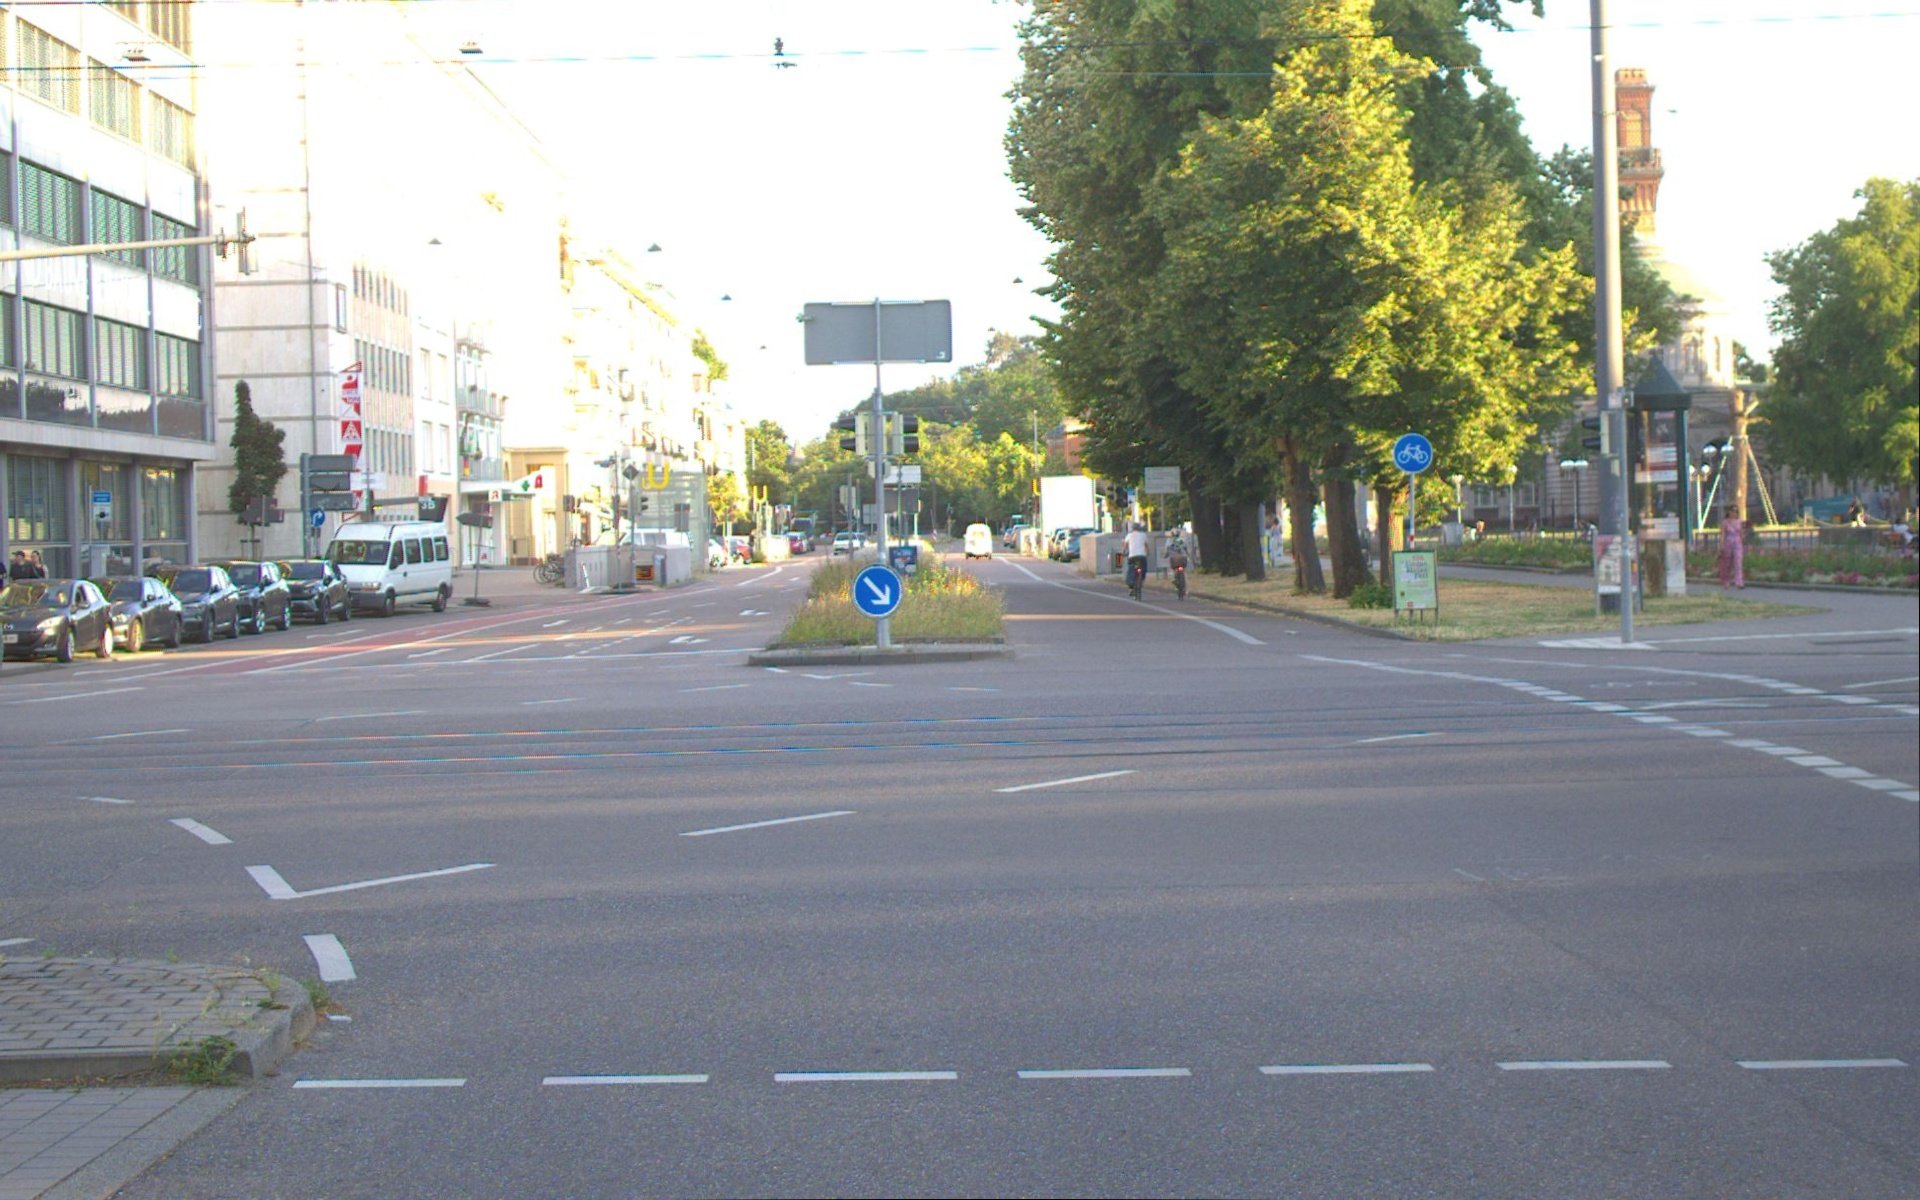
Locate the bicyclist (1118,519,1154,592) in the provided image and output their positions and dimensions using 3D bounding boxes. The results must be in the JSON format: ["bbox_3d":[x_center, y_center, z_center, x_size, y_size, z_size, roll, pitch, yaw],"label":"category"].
[{"bbox_3d":[4.089,-1.030,79.880,0.746,1.658,0.873,-2,1,-1],"label":"bicyclist"}]

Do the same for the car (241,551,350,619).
[{"bbox_3d":[-16.359,-0.378,84.774,1.920,1.563,4.000,-2,1,-1],"label":"car"}]

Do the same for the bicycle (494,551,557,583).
[{"bbox_3d":[-15.841,-1.213,125.457,2.205,1.108,0.619,-2,1,-2],"label":"bicycle"}]

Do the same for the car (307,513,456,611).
[{"bbox_3d":[-15.300,-1.048,91.224,2.002,2.469,5.865,-1,1,10],"label":"car"}]

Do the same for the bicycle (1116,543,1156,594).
[{"bbox_3d":[4.088,-0.751,80.108,0.746,1.140,2.505,-2,1,-1],"label":"bicycle"}]

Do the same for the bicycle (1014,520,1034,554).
[{"bbox_3d":[3.881,-3.845,208.628,1.002,2.007,4.000,-1,1,4],"label":"bicycle"}]

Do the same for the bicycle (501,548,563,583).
[{"bbox_3d":[-16.040,-1.288,128.875,2.205,1.232,0.839,-2,1,-2],"label":"bicycle"}]

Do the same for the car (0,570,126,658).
[{"bbox_3d":[-16.486,0.238,61.935,1.920,1.459,4.103,-2,1,-1],"label":"car"}]

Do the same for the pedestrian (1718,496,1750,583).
[{"bbox_3d":[14.819,-1.163,65.827,0.460,1.651,0.567,-1,1,-1],"label":"pedestrian"}]

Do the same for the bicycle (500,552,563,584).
[{"bbox_3d":[-15.824,-1.190,126.979,2.205,1.108,0.689,-2,1,-2],"label":"bicycle"}]

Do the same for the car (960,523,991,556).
[{"bbox_3d":[0.781,-3.068,173.548,1.408,1.636,4.000,-2,1,-2],"label":"car"}]

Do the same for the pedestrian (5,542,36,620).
[{"bbox_3d":[-20.588,-0.418,75.361,0.500,1.673,0.500,-2,1,-1],"label":"pedestrian"}]

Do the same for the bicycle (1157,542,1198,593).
[{"bbox_3d":[5.048,-0.756,79.937,0.746,1.140,2.505,-2,1,-1],"label":"bicycle"}]

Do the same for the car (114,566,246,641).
[{"bbox_3d":[-16.579,0.059,73.246,1.920,1.459,4.000,-2,1,-1],"label":"car"}]

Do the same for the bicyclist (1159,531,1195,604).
[{"bbox_3d":[5.044,-0.756,79.947,0.746,1.685,0.799,-2,1,-1],"label":"bicyclist"}]

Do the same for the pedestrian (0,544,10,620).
[{"bbox_3d":[-21.184,-0.393,75.356,0.551,1.673,0.500,-2,1,-1],"label":"pedestrian"}]

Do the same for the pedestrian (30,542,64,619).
[{"bbox_3d":[-19.881,-0.429,74.869,0.551,1.673,0.500,-2,1,-1],"label":"pedestrian"}]

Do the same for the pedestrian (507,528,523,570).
[{"bbox_3d":[-21.321,-2.434,164.765,0.680,2.007,0.545,-2,1,0],"label":"pedestrian"}]

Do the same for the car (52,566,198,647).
[{"bbox_3d":[-16.575,0.107,68.431,1.920,1.459,4.000,-2,1,-1],"label":"car"}]

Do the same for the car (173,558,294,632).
[{"bbox_3d":[-16.557,-0.144,78.547,1.920,1.563,4.000,-2,1,-1],"label":"car"}]
